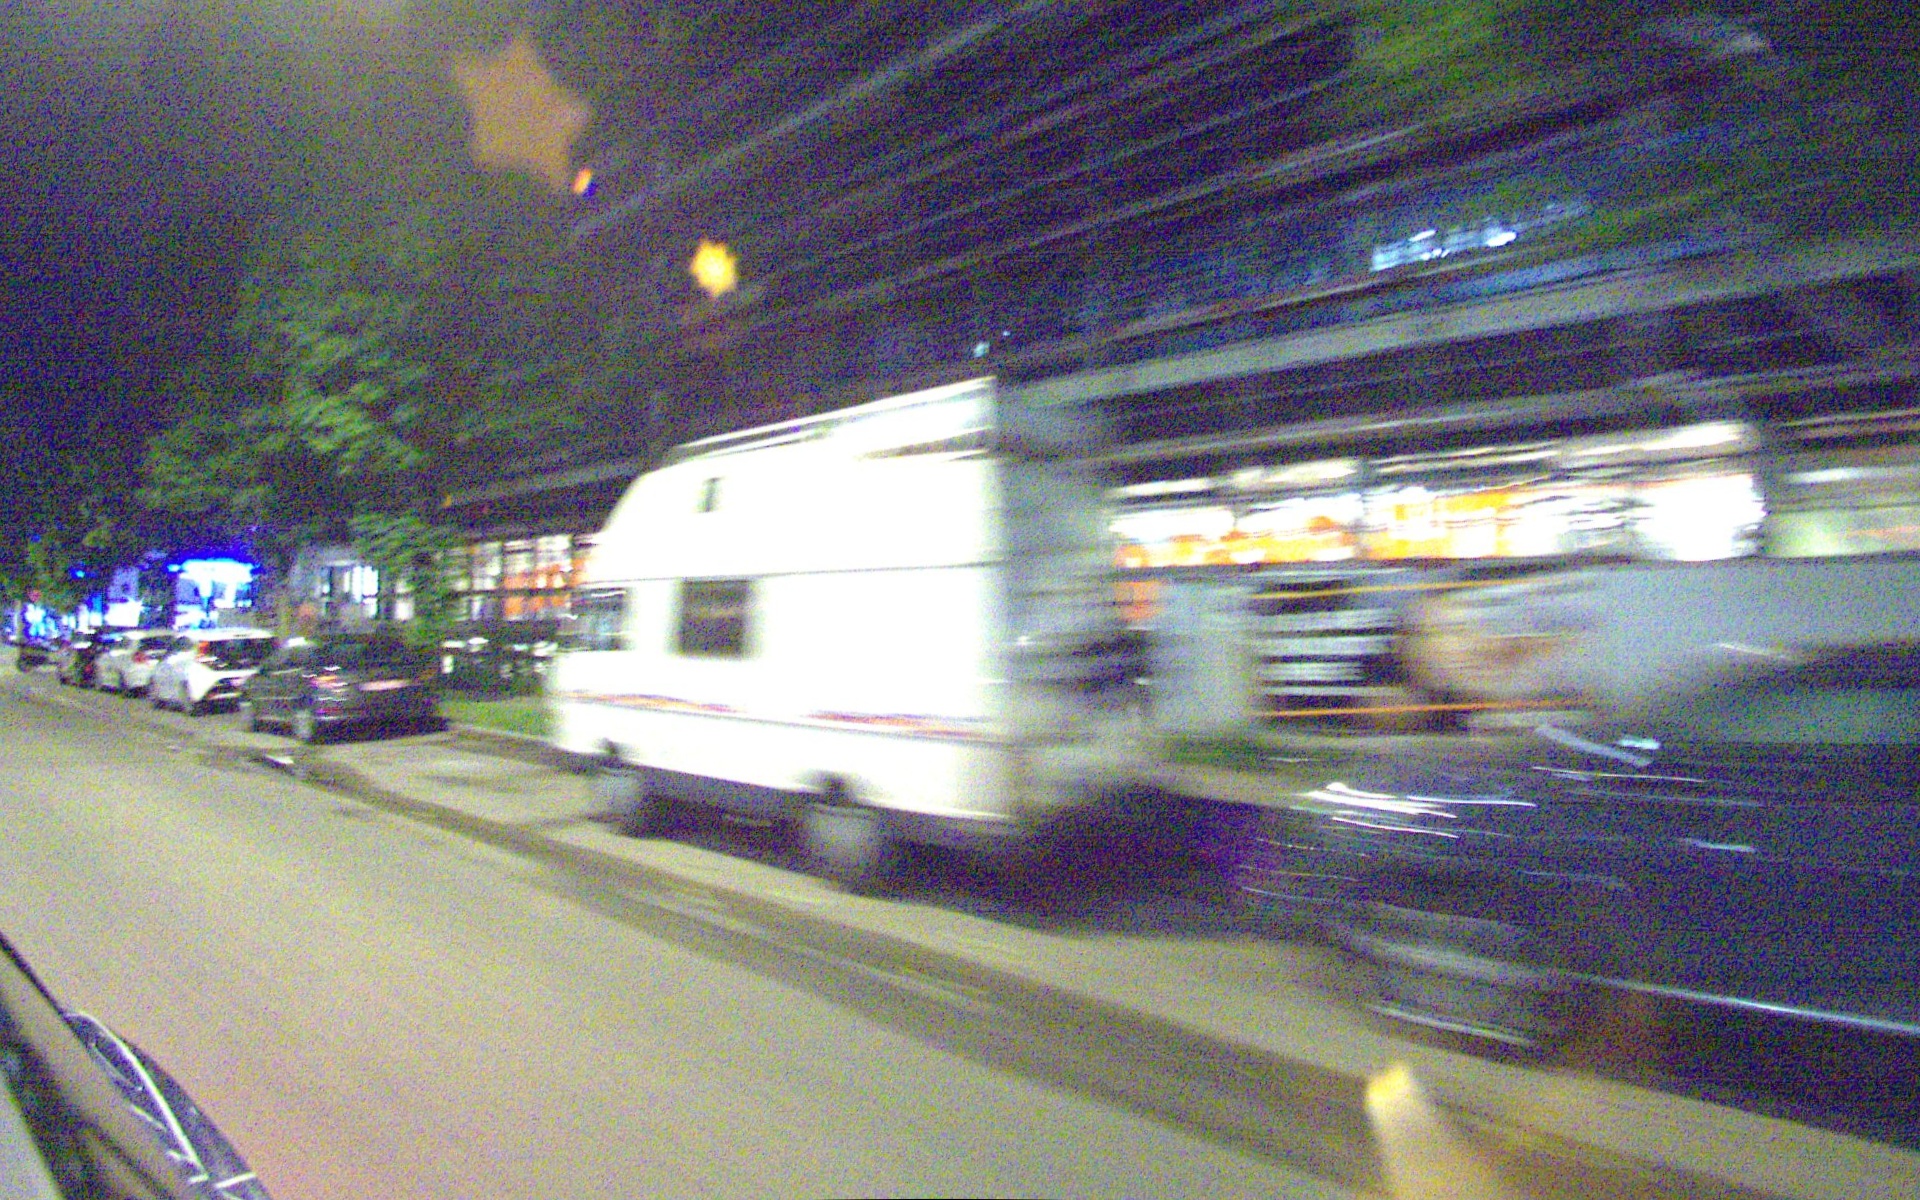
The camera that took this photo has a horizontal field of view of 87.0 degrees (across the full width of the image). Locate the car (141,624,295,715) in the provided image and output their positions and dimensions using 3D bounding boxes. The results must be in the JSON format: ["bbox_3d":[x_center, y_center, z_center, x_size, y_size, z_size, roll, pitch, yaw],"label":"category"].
[{"bbox_3d":[-13.628,1.195,18.539,3.366,1.466,1.532,-1,0,40],"label":"car"}]

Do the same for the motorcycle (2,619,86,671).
[{"bbox_3d":[-28.948,1.391,32.028,0.635,1.561,1.894,-1,0,21],"label":"motorcycle"}]

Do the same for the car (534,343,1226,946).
[{"bbox_3d":[-0.848,0.249,7.344,4.906,2.931,2.157,-1,-1,40],"label":"car"}]

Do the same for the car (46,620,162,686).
[{"bbox_3d":[-21.778,1.296,25.695,3.901,1.516,1.626,-1,0,40],"label":"car"}]

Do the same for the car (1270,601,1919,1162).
[{"bbox_3d":[3.409,0.816,3.531,4.114,1.619,1.724,-1,-1,41],"label":"car"}]

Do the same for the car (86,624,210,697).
[{"bbox_3d":[-18.147,1.277,22.556,3.901,1.440,1.430,-1,0,40],"label":"car"}]

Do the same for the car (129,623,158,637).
[{"bbox_3d":[-89.202,3.306,110.530,4.083,1.489,1.710,-1,-2,40],"label":"car"}]

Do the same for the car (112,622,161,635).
[{"bbox_3d":[-95.991,3.356,118.034,1.716,1.489,4.256,0,-1,13],"label":"car"}]

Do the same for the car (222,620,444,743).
[{"bbox_3d":[-9.127,1.069,14.621,3.858,1.516,1.629,-1,-1,40],"label":"car"}]
